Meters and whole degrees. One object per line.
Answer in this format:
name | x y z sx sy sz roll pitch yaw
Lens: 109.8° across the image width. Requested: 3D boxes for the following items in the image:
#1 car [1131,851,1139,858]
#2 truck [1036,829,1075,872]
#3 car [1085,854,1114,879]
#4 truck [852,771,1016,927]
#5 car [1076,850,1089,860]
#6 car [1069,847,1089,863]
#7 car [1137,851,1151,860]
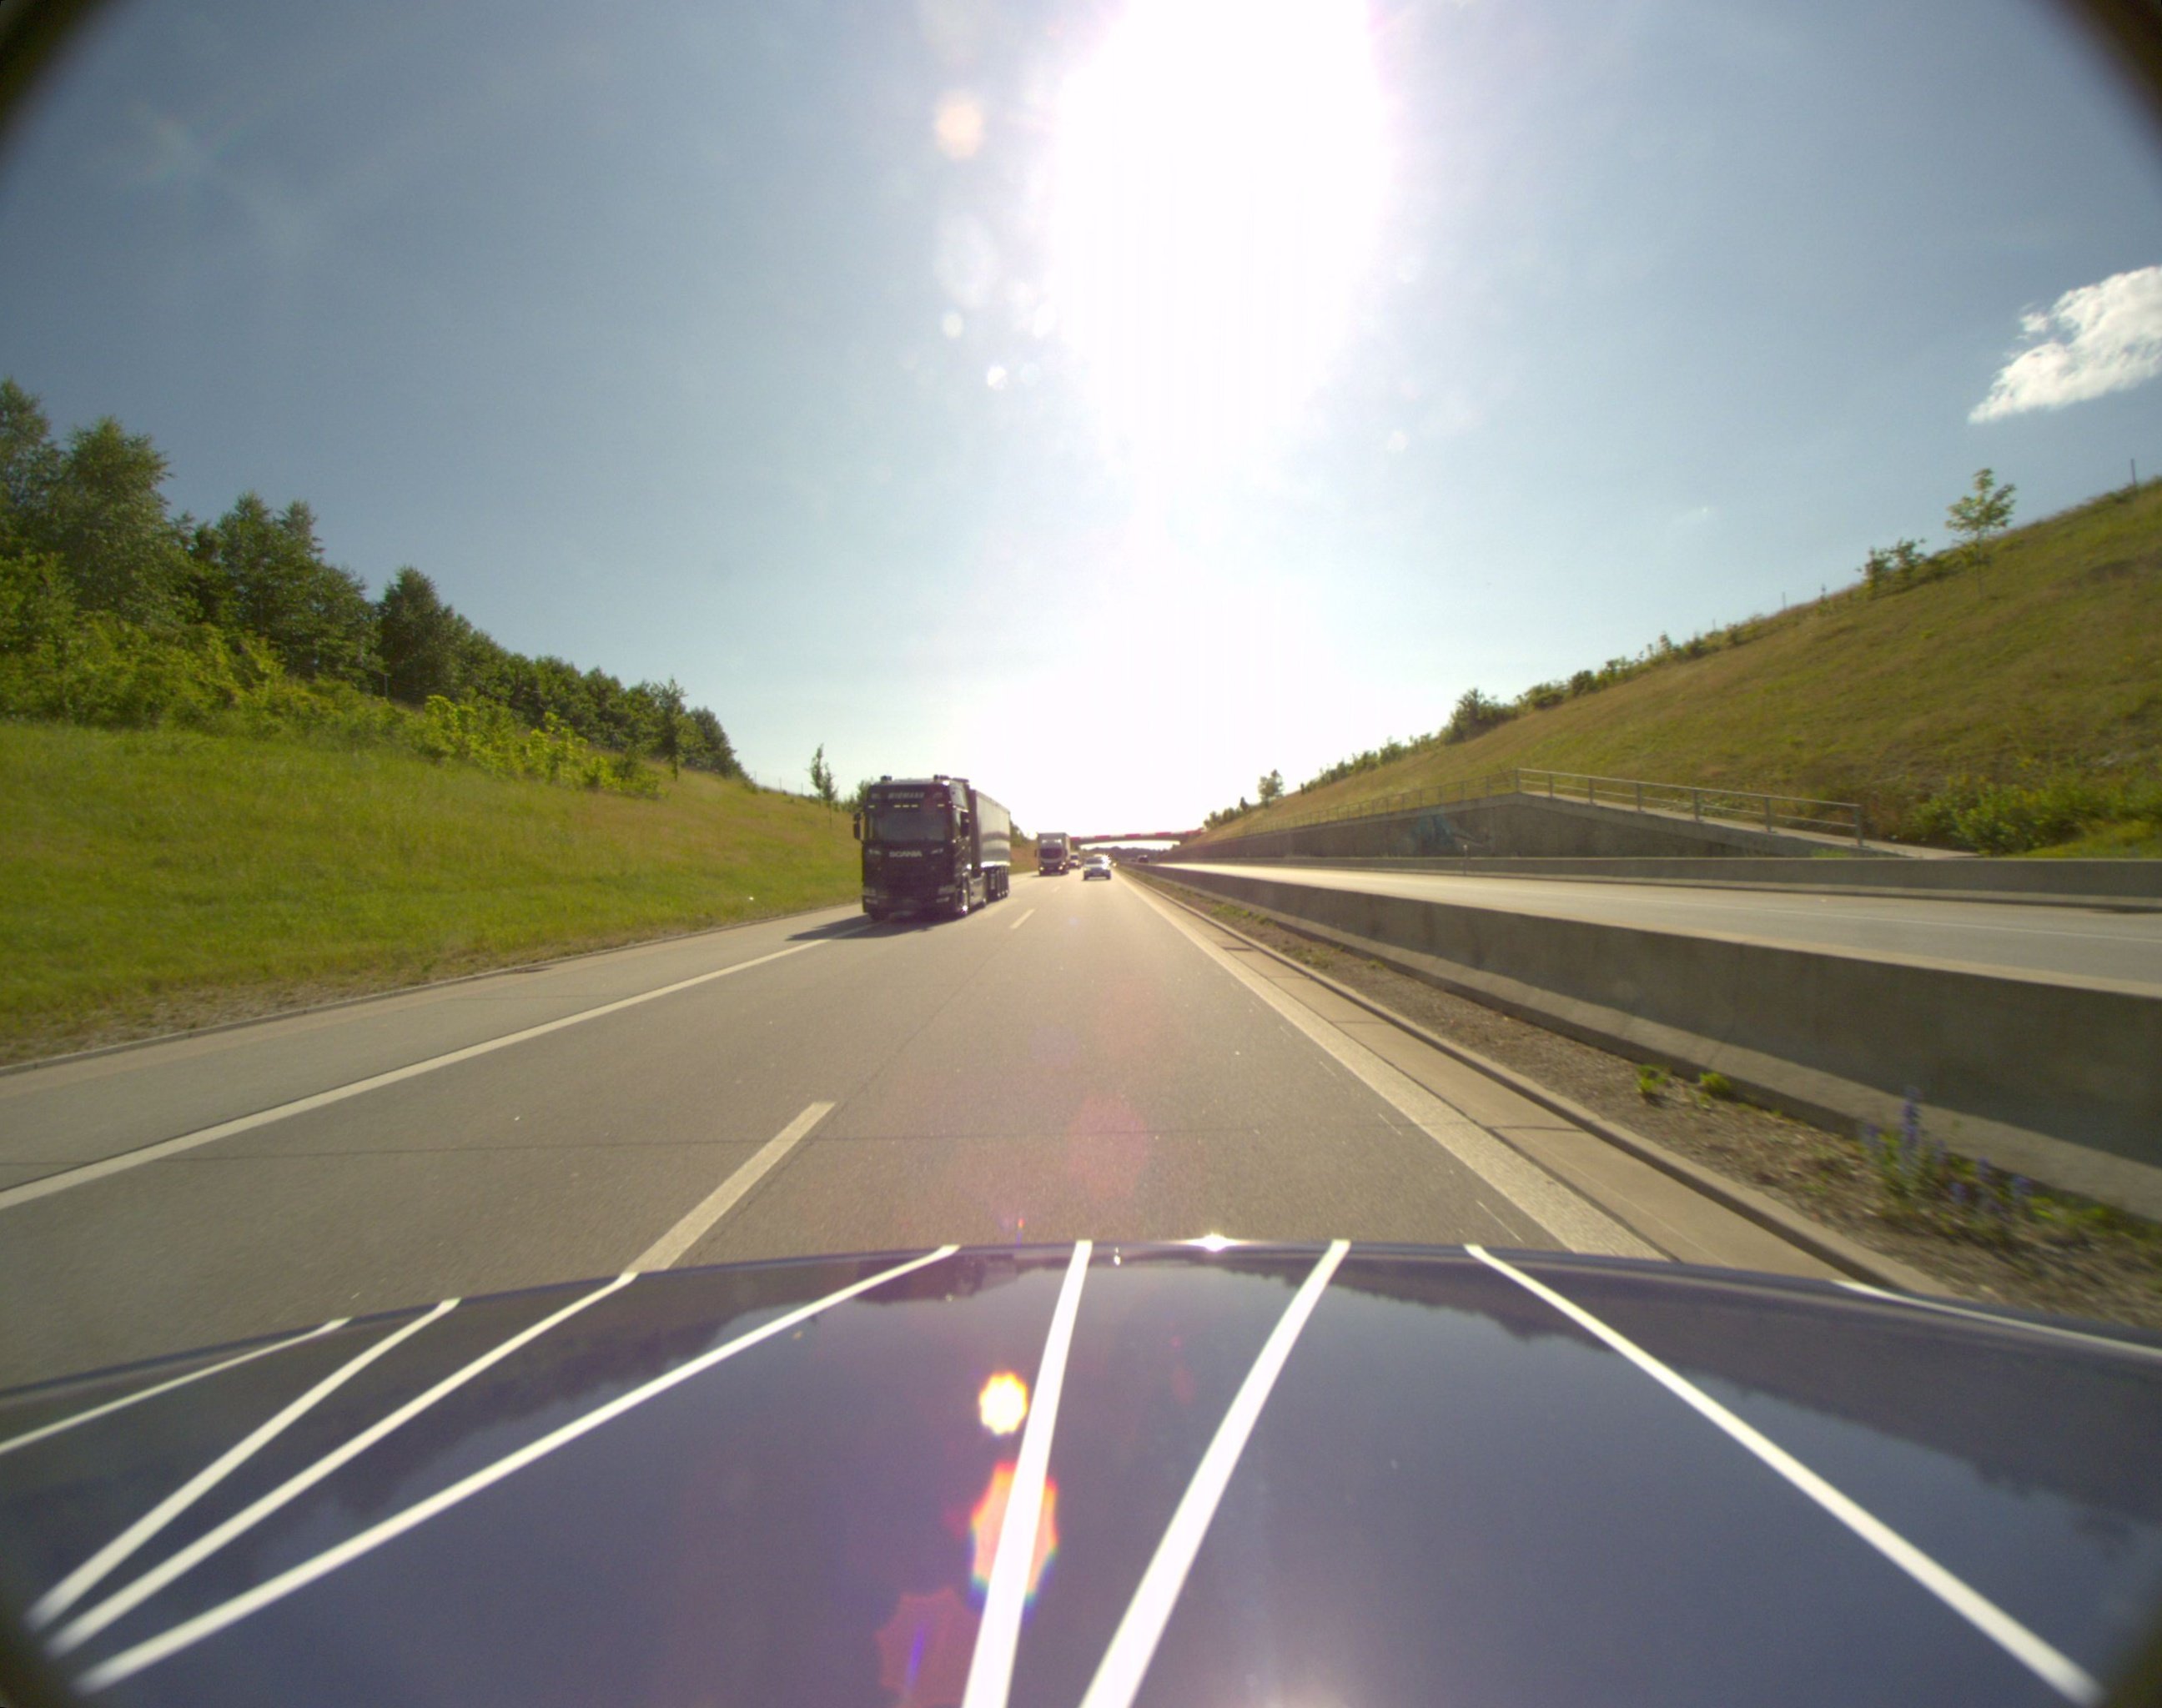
car | 12.511 0.162 176.862 1.858 1.453 4.728 -2 1 3
truck | -2.335 -0.392 74.843 3.025 3.795 13.401 -2 1 1
car | 1.297 0.803 51.731 1.795 1.501 3.635 -4 1 3
truck | -4.236 -0.195 25.590 2.623 3.795 13.401 -2 1 1
car | 0.315 0.205 168.292 2.816 2.143 5.946 -2 1 -1
car | -0.315 0.135 112.210 2.816 2.143 5.946 -2 1 -1
car | 10.997 0.182 133.183 1.858 1.453 4.727 -3 1 -1
